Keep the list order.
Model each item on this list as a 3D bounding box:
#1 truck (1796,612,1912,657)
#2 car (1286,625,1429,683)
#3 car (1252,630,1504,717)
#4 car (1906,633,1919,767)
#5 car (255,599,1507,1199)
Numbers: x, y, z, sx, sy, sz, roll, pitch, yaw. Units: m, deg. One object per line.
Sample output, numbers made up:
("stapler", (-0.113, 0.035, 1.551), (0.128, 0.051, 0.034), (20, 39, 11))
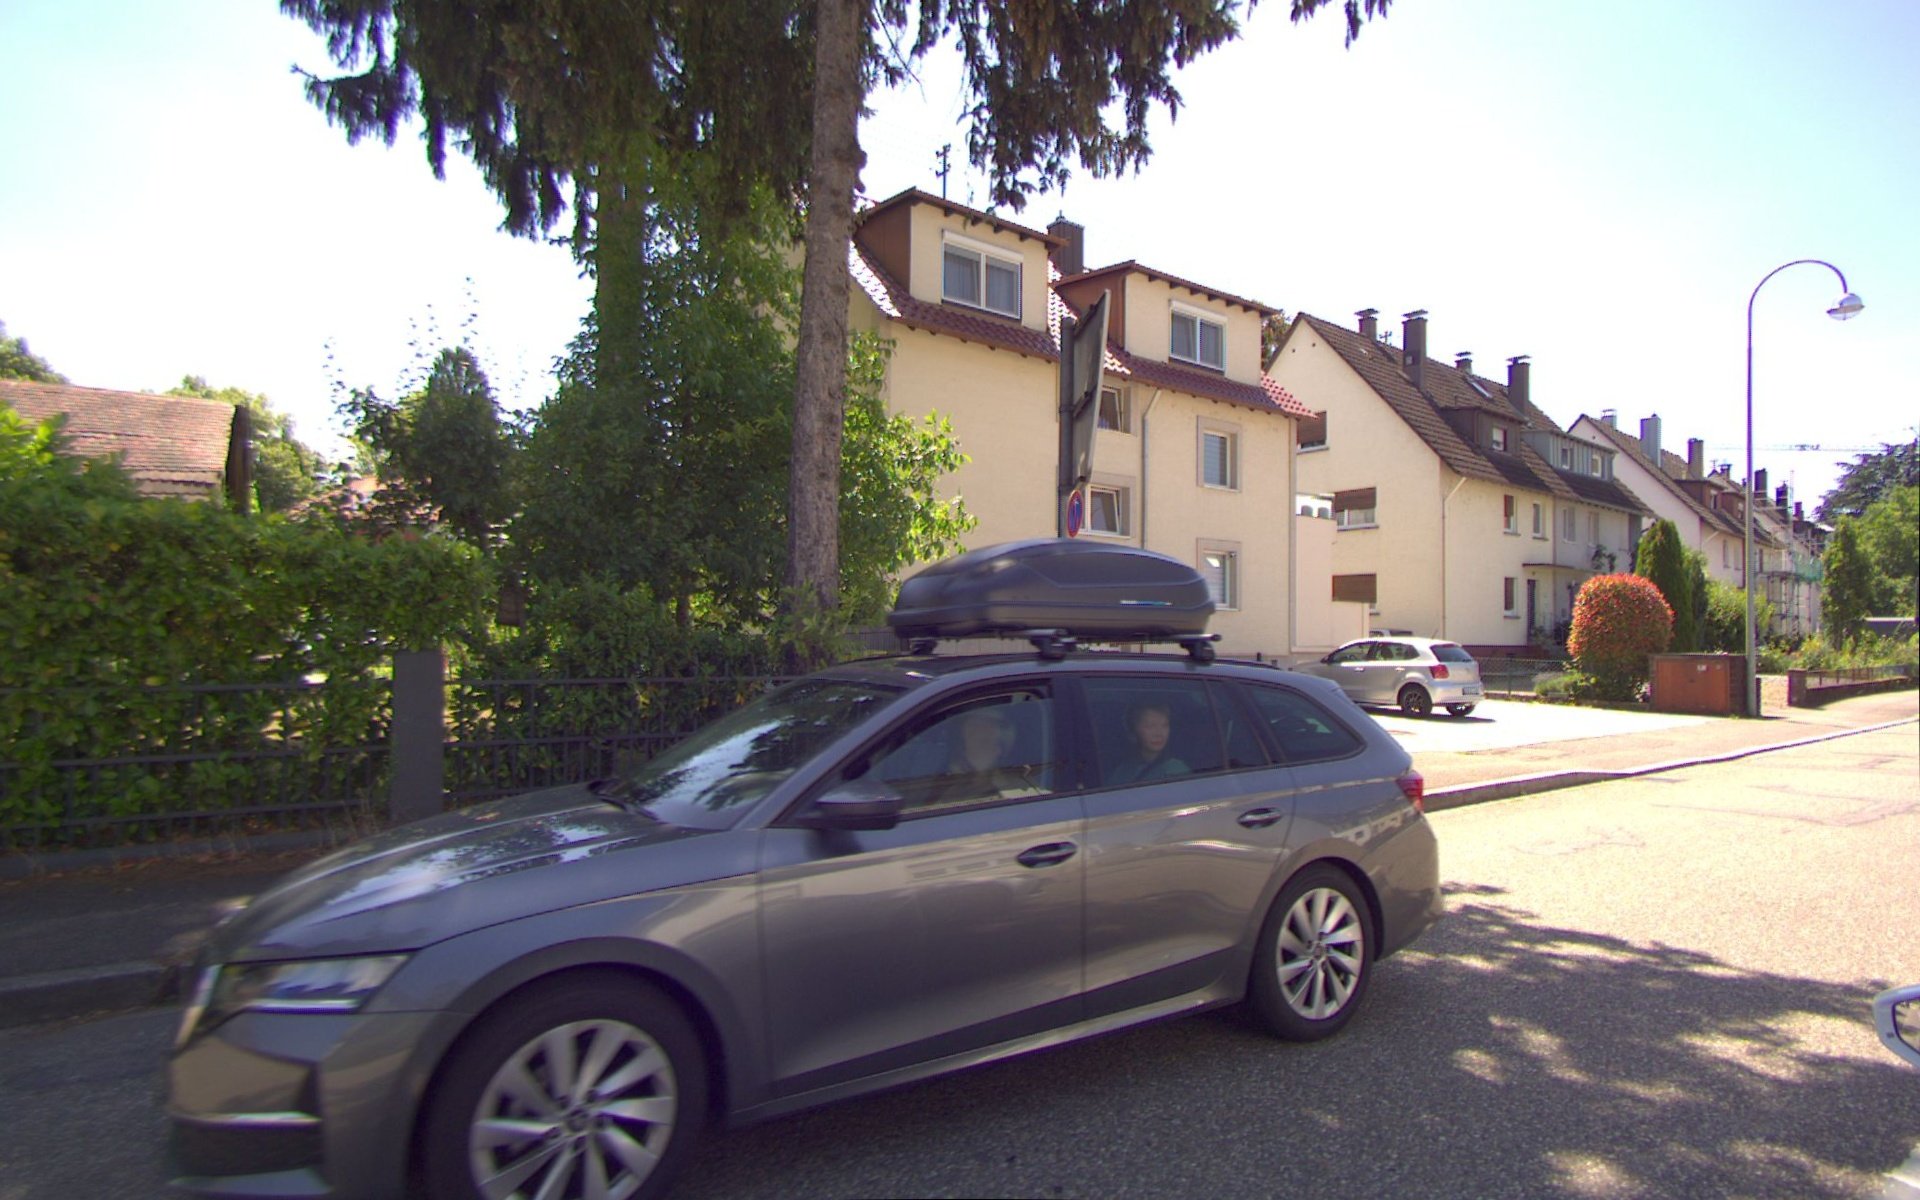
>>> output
("truck", (40.529, 1.570, 45.585), (1.534, 1.963, 3.737), (1, -3, -40))
("car", (11.956, 1.572, 30.401), (1.632, 1.556, 3.755), (0, -1, -38))
("car", (8.180, 1.370, 20.070), (1.827, 1.460, 4.444), (2, -1, -32))
("car", (13.068, 1.140, 11.856), (4.096, 1.524, 1.732), (1, -4, -32))
("car", (-0.013, 0.839, 3.951), (4.335, 1.508, 1.798), (1, -3, -30))
